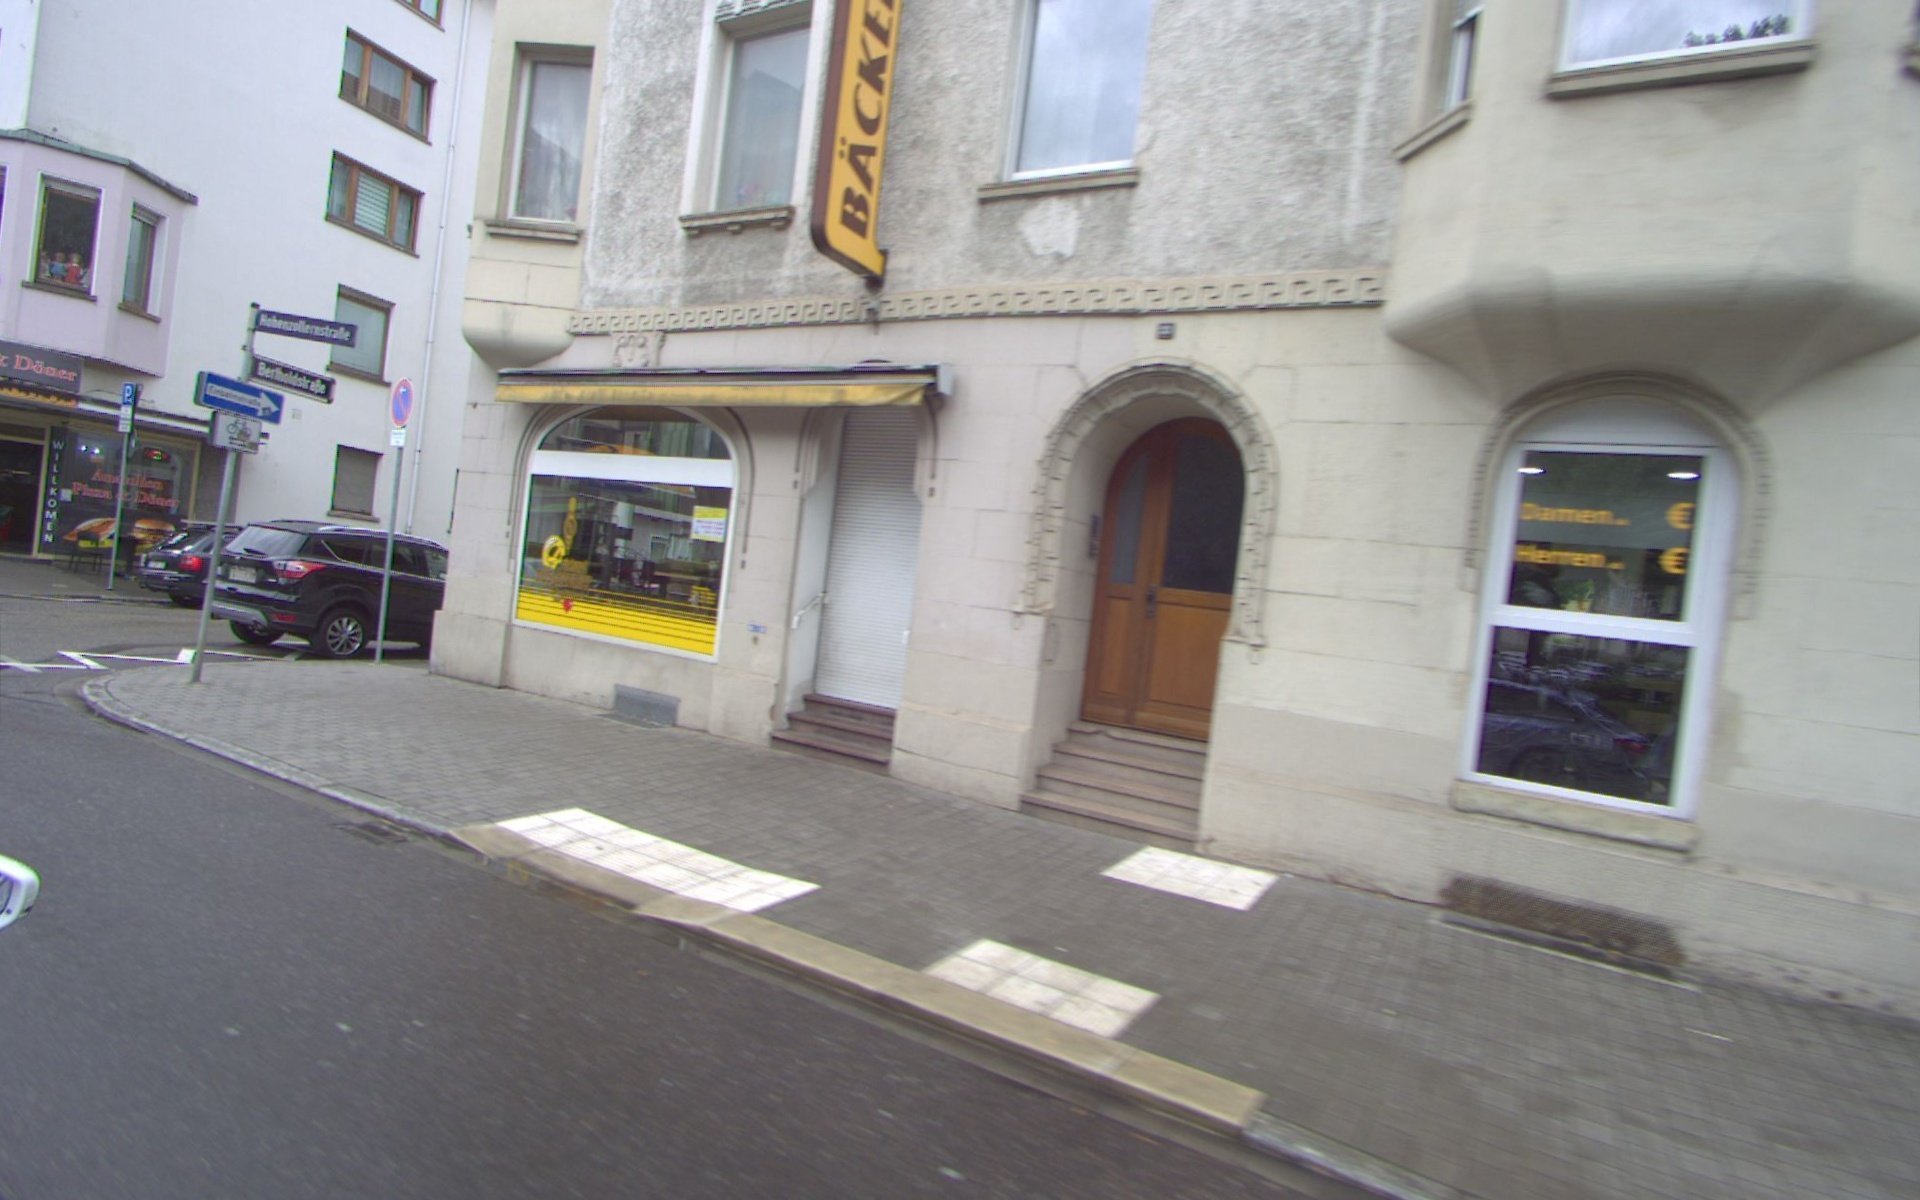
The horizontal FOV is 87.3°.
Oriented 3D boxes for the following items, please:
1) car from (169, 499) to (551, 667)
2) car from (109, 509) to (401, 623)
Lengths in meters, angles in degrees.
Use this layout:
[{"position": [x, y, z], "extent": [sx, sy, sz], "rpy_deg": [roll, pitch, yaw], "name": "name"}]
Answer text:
[{"position": [-8.078, -0.112, 14.033], "extent": [1.839, 1.793, 4.151], "rpy_deg": [7, -1, 24], "name": "car"}, {"position": [-13.142, -0.555, 19.062], "extent": [1.773, 1.626, 4.119], "rpy_deg": [5, -2, 24], "name": "car"}]
